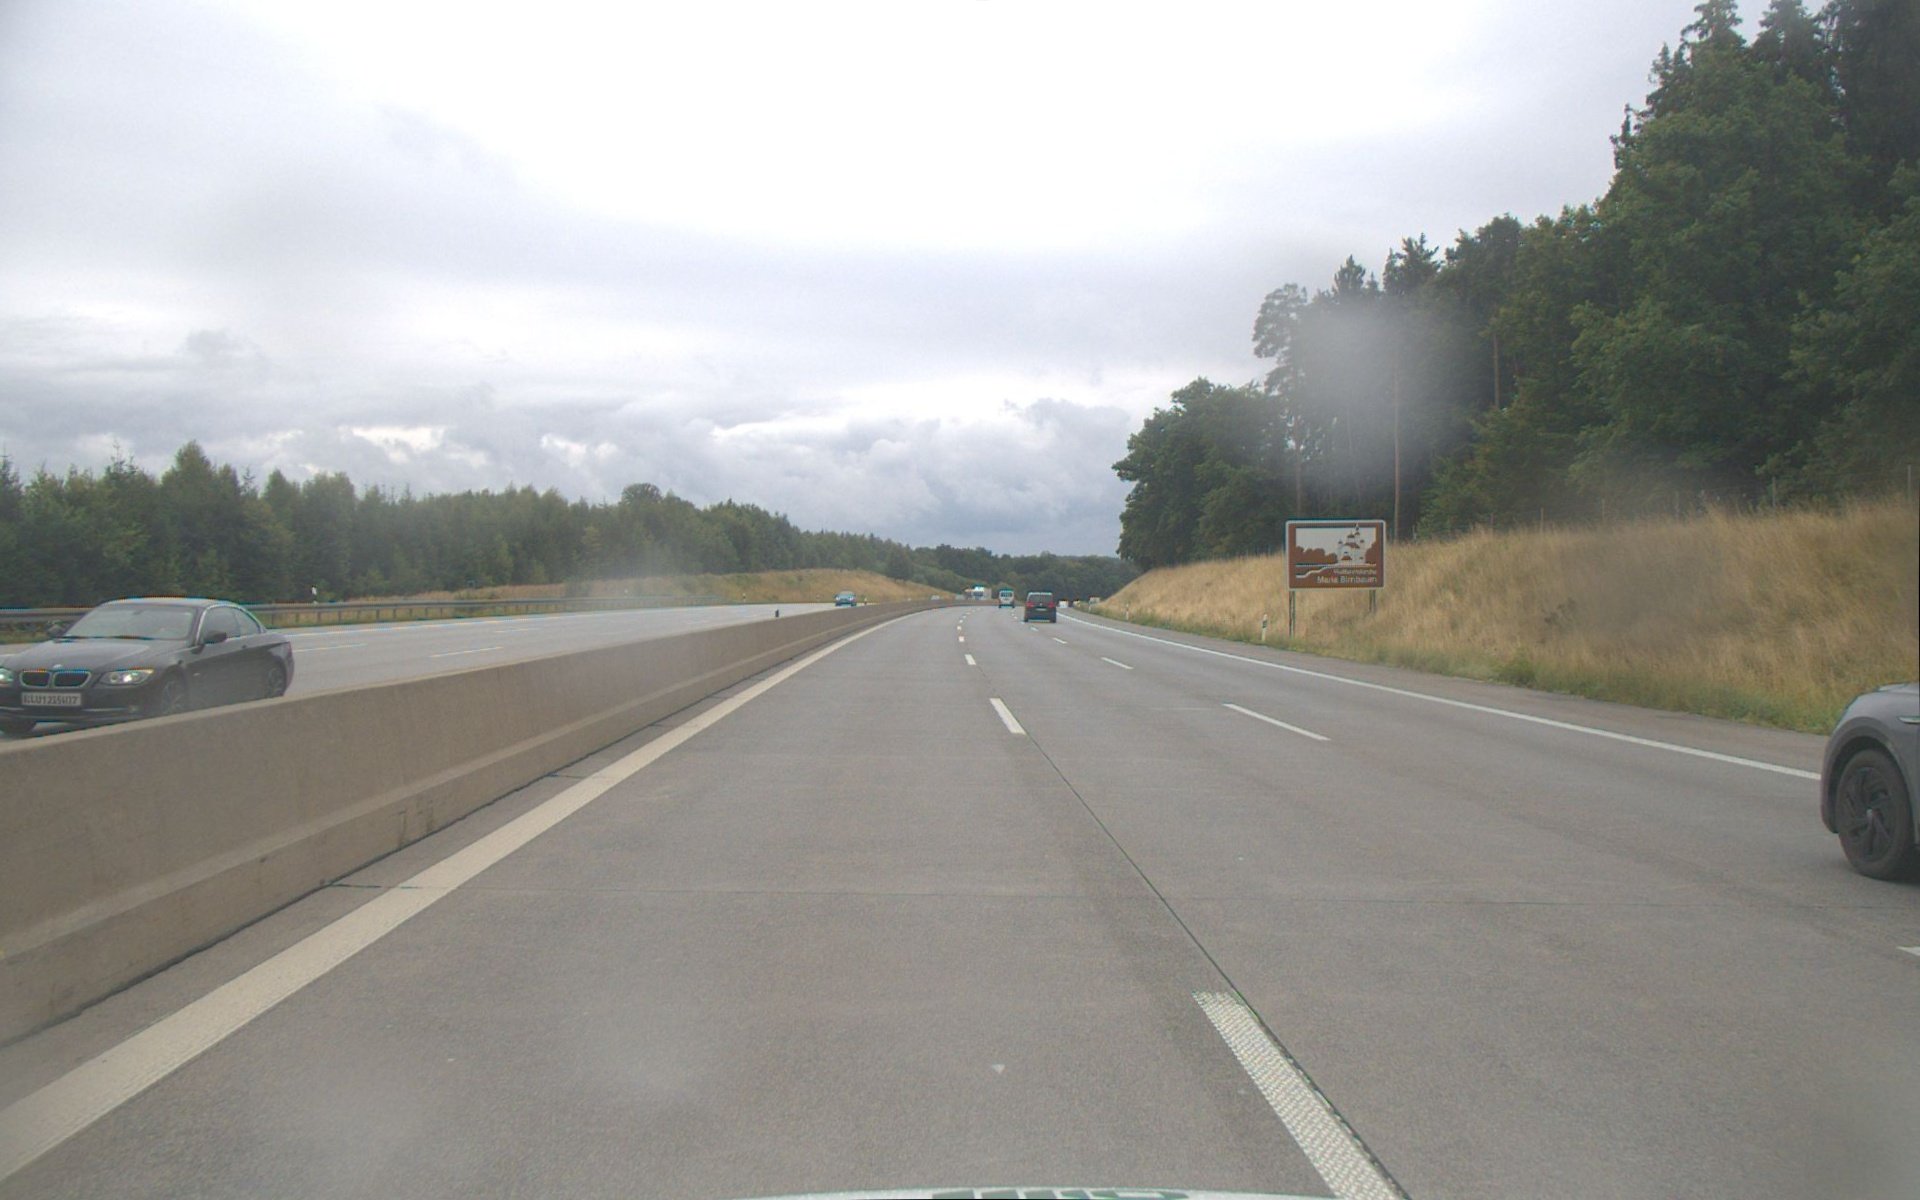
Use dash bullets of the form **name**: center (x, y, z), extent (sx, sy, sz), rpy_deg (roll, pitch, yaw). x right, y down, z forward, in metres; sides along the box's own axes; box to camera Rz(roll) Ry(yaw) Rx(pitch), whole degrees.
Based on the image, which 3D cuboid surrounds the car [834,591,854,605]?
- **car**: center (-11.550, -0.220, 165.161), extent (1.731, 1.253, 3.955), rpy_deg (2, 1, 0)

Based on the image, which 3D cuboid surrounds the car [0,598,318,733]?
- **car**: center (-8.842, 0.725, 18.548), extent (1.727, 1.289, 4.490), rpy_deg (-1, -2, -3)

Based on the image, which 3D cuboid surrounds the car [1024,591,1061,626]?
- **car**: center (4.737, 0.465, 95.463), extent (1.749, 1.777, 3.914), rpy_deg (-2, 2, -2)

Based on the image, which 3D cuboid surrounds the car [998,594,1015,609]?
- **car**: center (5.427, 0.200, 191.629), extent (1.803, 1.526, 4.000), rpy_deg (-2, 2, 0)

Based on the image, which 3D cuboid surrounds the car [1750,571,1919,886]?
- **car**: center (6.231, 0.744, 8.300), extent (1.859, 1.719, 5.265), rpy_deg (1, 1, -2)
